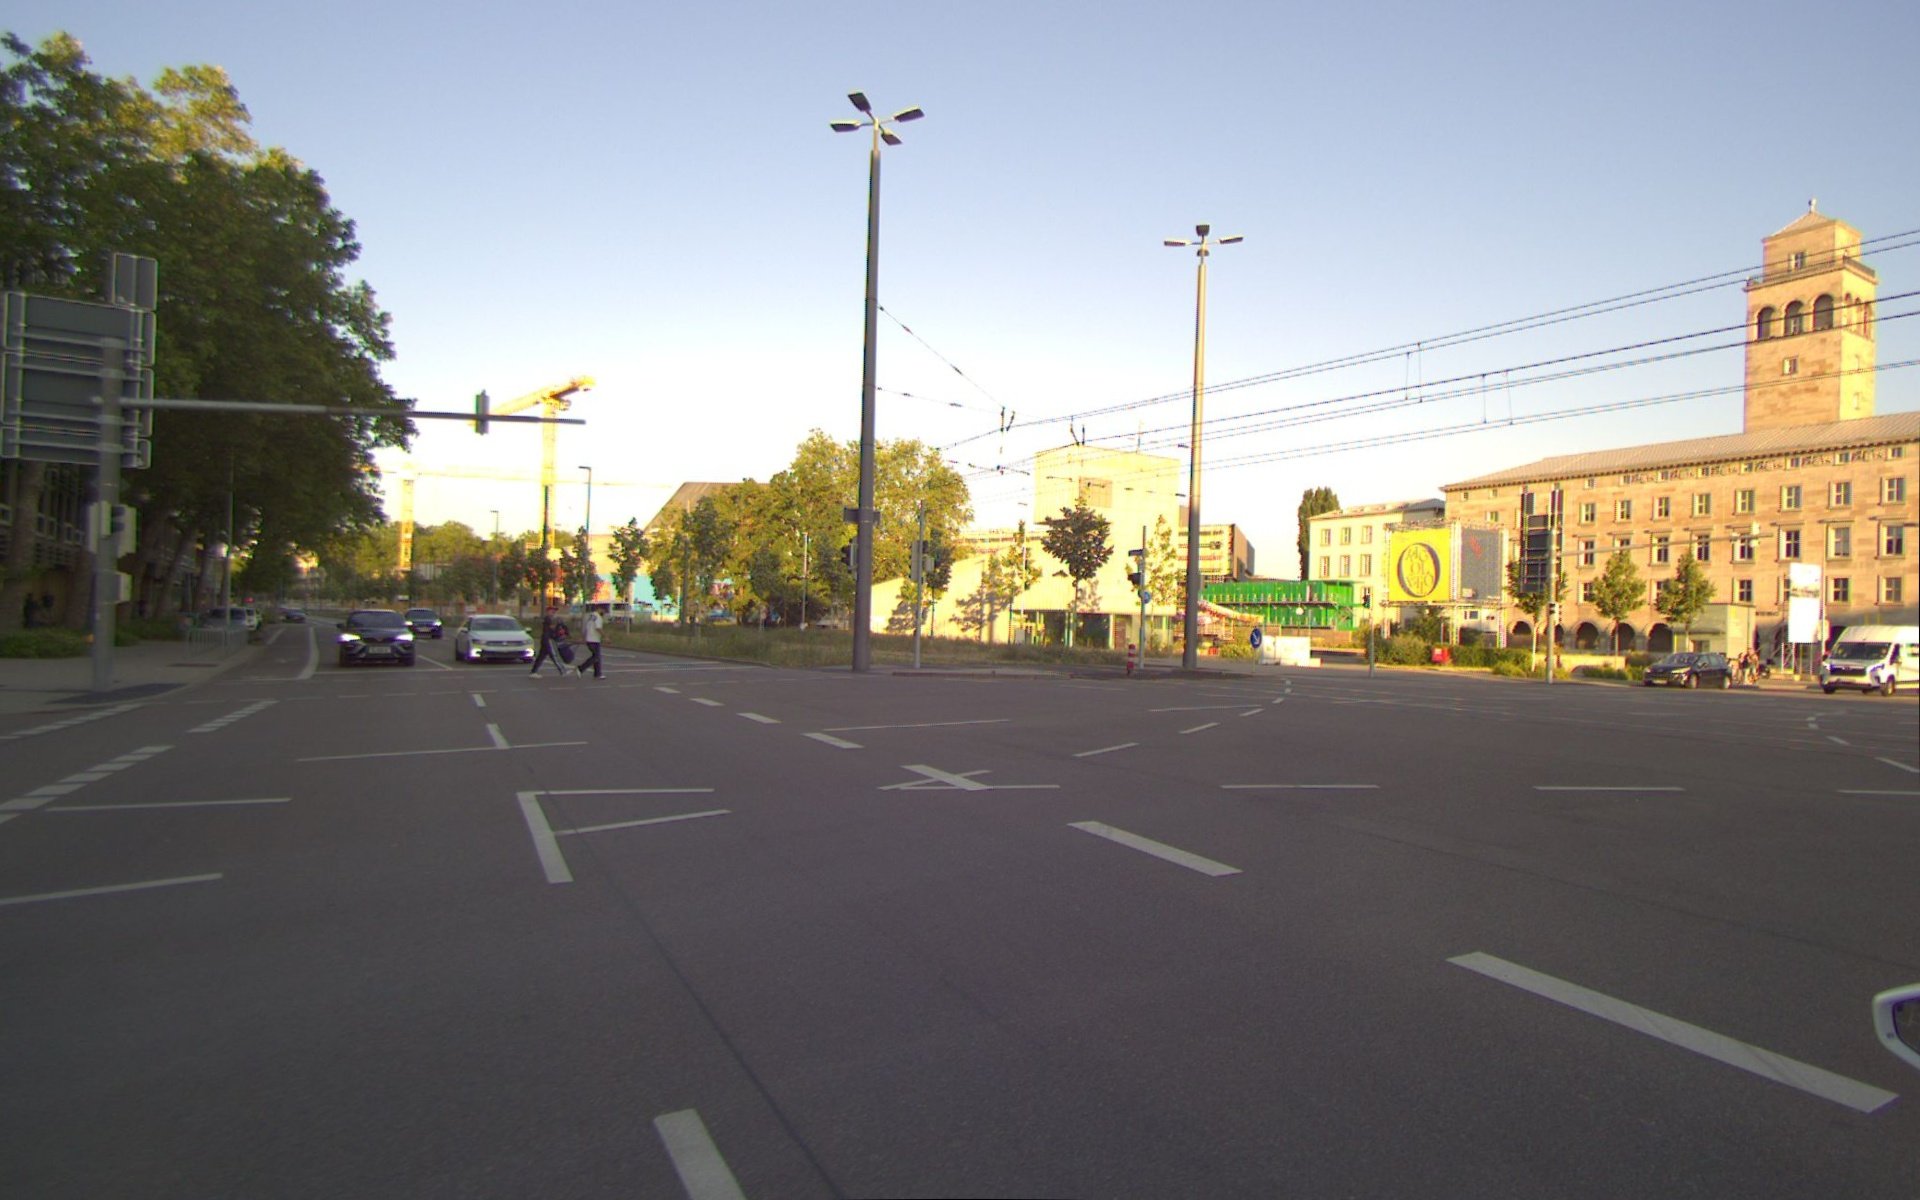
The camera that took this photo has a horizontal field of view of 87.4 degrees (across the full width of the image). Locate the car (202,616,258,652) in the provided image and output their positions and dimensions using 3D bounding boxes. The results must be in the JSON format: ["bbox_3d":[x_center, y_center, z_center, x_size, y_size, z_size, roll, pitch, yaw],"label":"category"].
[{"bbox_3d":[-35.117,1.604,48.401,1.722,1.605,4.553,1,-1,-31],"label":"car"}]

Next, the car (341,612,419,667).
[{"bbox_3d":[-16.912,1.113,29.299,1.830,1.476,3.920,1,-1,-31],"label":"car"}]

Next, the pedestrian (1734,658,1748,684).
[{"bbox_3d":[39.463,3.584,50.741,0.456,1.318,0.418,3,0,-35],"label":"pedestrian"}]

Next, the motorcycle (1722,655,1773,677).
[{"bbox_3d":[47.753,4.000,60.907,0.818,1.212,2.292,2,-1,-36],"label":"motorcycle"}]

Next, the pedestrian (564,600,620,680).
[{"bbox_3d":[-8.227,0.896,22.454,0.949,1.743,0.816,2,-1,-34],"label":"pedestrian"}]

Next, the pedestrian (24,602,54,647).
[{"bbox_3d":[-38.321,1.028,41.788,0.749,1.830,0.715,3,0,-35],"label":"pedestrian"}]

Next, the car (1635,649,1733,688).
[{"bbox_3d":[30.136,2.807,41.799,4.109,1.485,1.814,2,-1,-30],"label":"car"}]

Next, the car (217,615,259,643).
[{"bbox_3d":[-42.582,1.688,59.315,1.723,1.605,3.763,1,-1,-32],"label":"car"}]

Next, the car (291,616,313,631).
[{"bbox_3d":[-73.631,2.614,112.392,1.726,1.605,4.543,1,-1,-36],"label":"car"}]

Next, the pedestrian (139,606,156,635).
[{"bbox_3d":[-53.408,1.336,66.050,0.749,1.830,0.715,3,0,-35],"label":"pedestrian"}]

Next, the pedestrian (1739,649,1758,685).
[{"bbox_3d":[40.170,3.393,51.167,0.455,1.767,0.617,3,0,-35],"label":"pedestrian"}]

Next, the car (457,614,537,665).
[{"bbox_3d":[-14.606,1.192,31.588,1.830,1.476,4.553,1,-1,-31],"label":"car"}]

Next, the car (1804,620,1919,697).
[{"bbox_3d":[35.940,2.268,39.559,6.013,2.812,2.268,2,-1,-31],"label":"car"}]

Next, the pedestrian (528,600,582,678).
[{"bbox_3d":[-9.291,0.890,23.056,0.949,1.743,0.816,2,-1,-34],"label":"pedestrian"}]

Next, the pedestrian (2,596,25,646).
[{"bbox_3d":[-39.346,0.860,41.759,0.512,2.040,0.576,3,0,-35],"label":"pedestrian"}]

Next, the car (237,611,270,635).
[{"bbox_3d":[-48.514,1.582,68.971,1.726,1.605,4.543,1,-1,-36],"label":"car"}]

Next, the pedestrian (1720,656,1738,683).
[{"bbox_3d":[39.486,3.572,51.566,0.694,1.318,0.502,3,0,-36],"label":"pedestrian"}]

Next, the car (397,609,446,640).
[{"bbox_3d":[-29.554,1.335,55.054,1.833,1.605,4.545,1,-1,-35],"label":"car"}]

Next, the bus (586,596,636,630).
[{"bbox_3d":[-41.583,1.552,119.297,2.960,3.818,10.339,2,-1,-34],"label":"bus"}]
